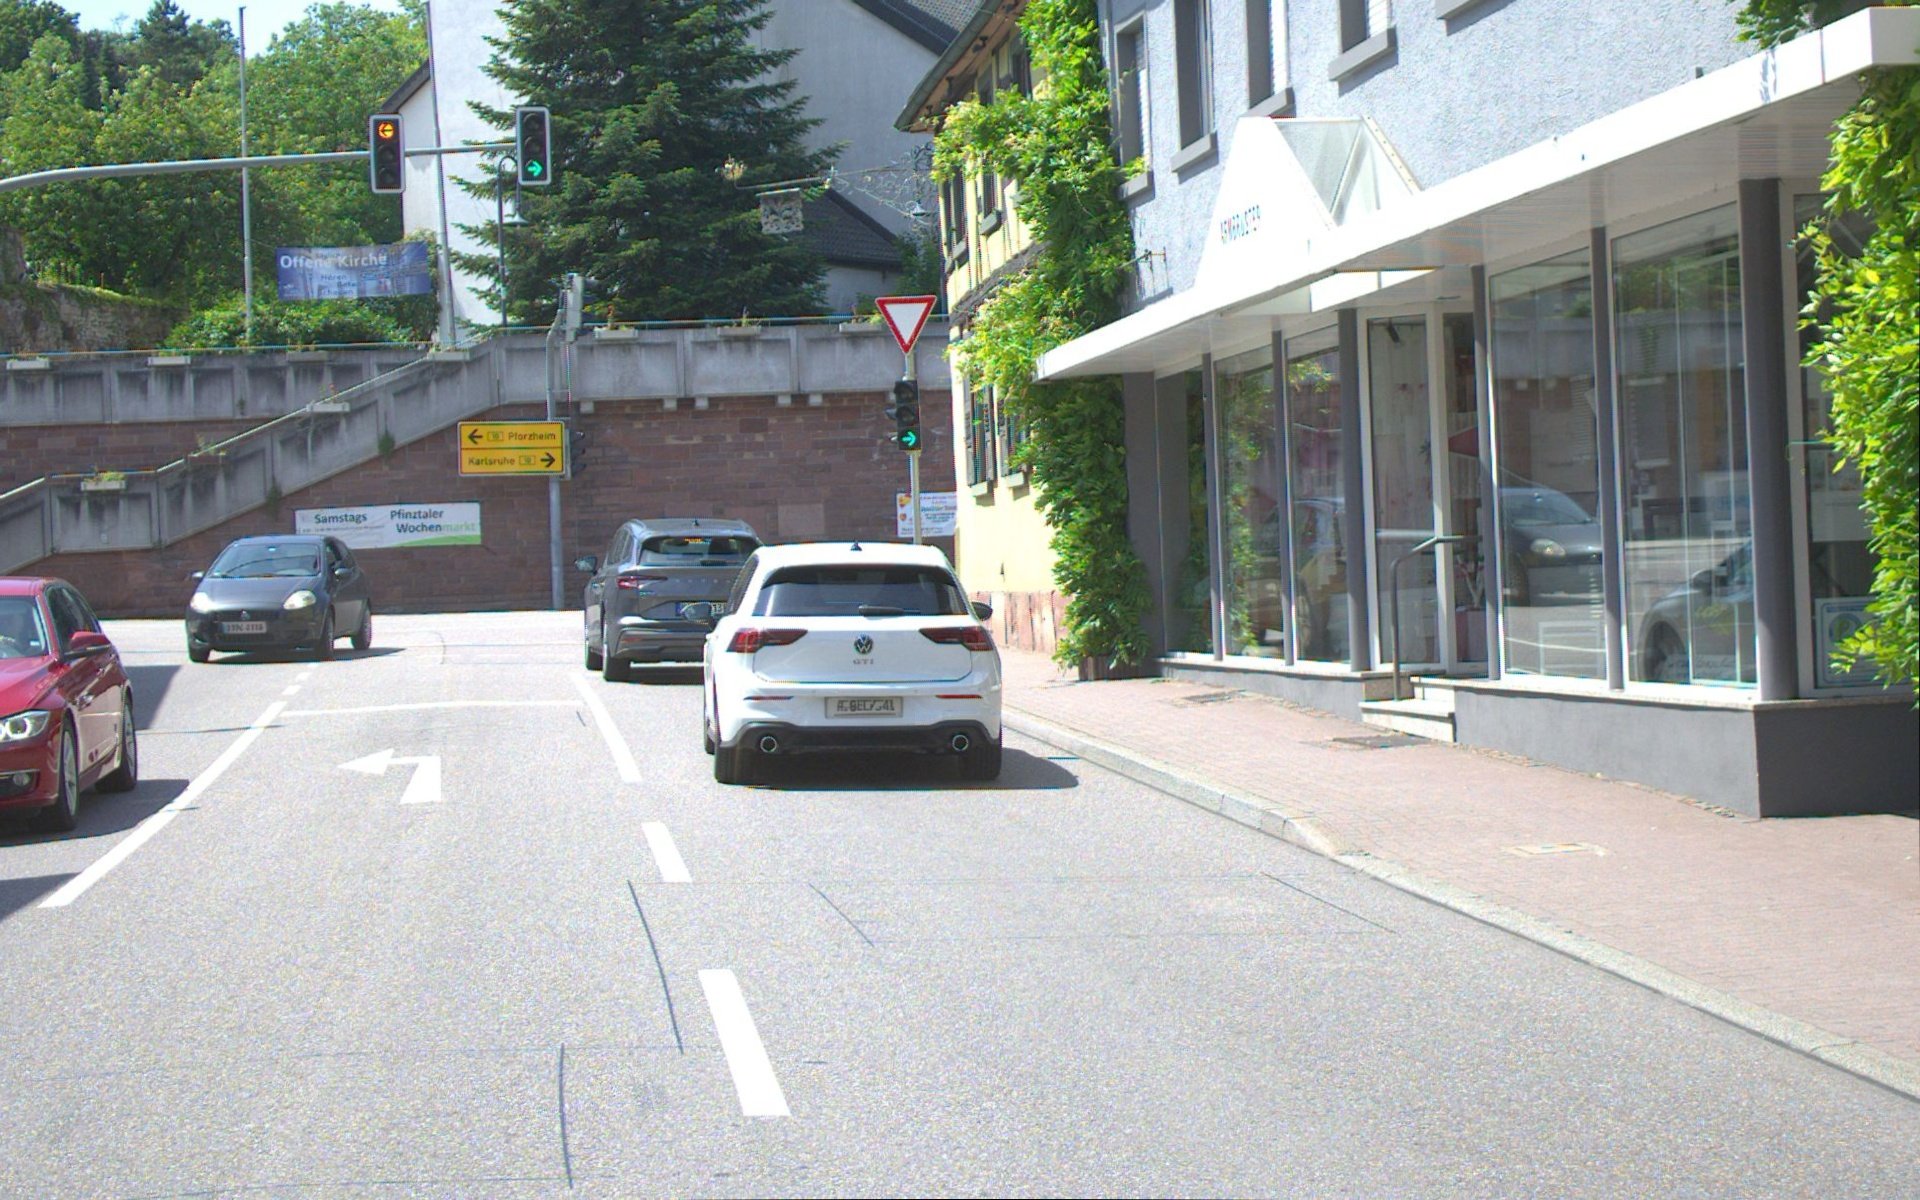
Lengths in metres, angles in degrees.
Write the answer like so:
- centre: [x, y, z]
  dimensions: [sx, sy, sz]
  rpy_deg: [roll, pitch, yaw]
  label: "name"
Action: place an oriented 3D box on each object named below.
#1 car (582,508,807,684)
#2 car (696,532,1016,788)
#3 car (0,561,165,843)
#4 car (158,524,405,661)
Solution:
- centre: [-2.798, -0.100, 35.411]
  dimensions: [1.949, 1.577, 4.327]
  rpy_deg: [-1, 3, -9]
  label: "car"
- centre: [-0.755, 0.322, 22.114]
  dimensions: [1.782, 1.453, 3.864]
  rpy_deg: [-2, 1, -5]
  label: "car"
- centre: [-5.947, 0.569, 20.374]
  dimensions: [1.717, 1.404, 4.285]
  rpy_deg: [-4, 2, -5]
  label: "car"
- centre: [-8.178, -0.127, 41.754]
  dimensions: [1.718, 1.418, 3.820]
  rpy_deg: [-3, 2, 8]
  label: "car"
